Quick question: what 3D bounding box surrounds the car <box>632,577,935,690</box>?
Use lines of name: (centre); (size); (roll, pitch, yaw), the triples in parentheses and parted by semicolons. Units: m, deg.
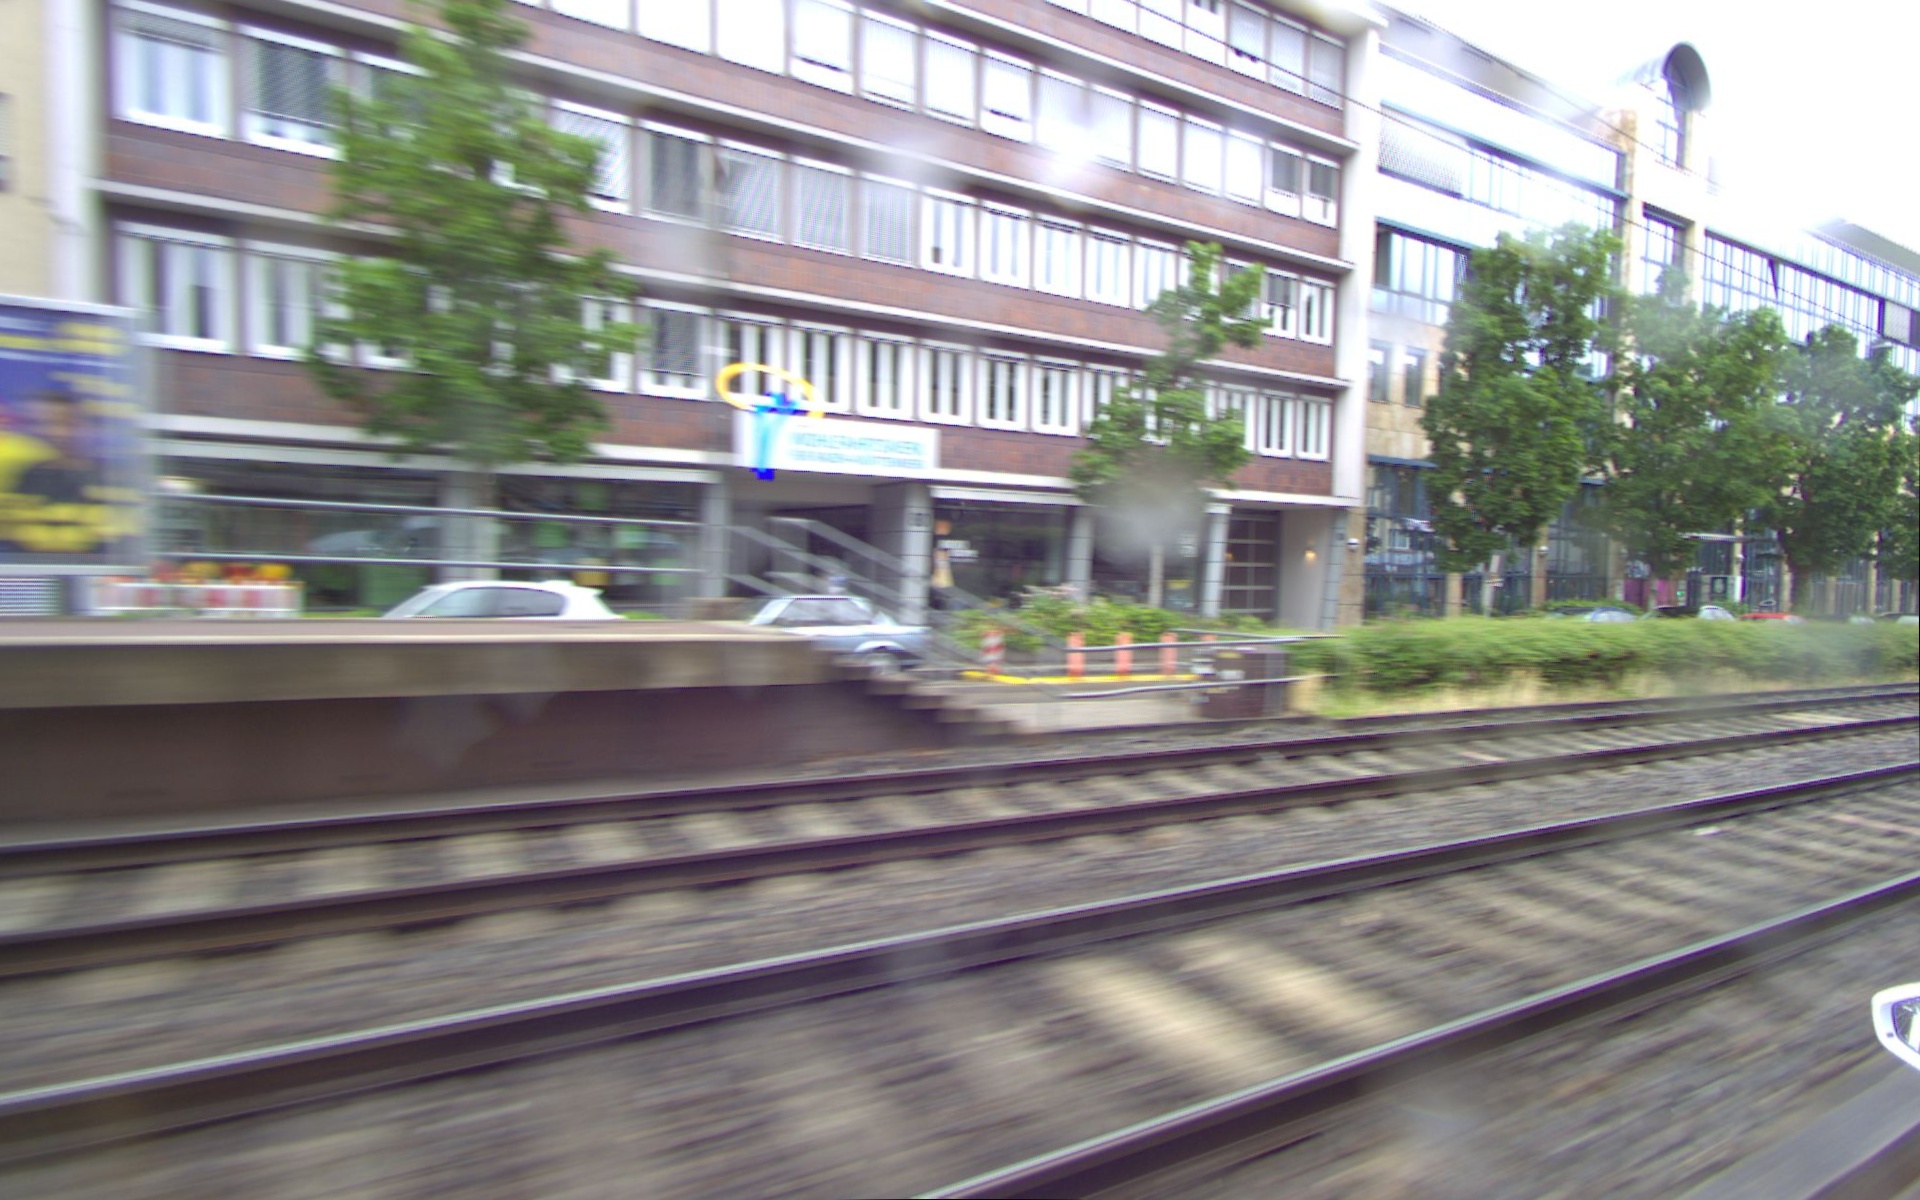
car: (-2.538, 0.469, 14.853); (4.134, 1.455, 1.558); (1, 1, -34)

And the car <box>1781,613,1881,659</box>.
car: (30.172, 1.243, 34.783); (4.134, 1.455, 1.558); (1, 1, -34)

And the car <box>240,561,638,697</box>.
car: (-6.374, 0.334, 12.569); (4.194, 1.455, 1.558); (1, 1, -34)

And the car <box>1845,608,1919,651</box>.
car: (34.231, 1.079, 36.899); (4.134, 1.455, 1.558); (1, 1, -34)

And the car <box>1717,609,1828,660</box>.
car: (25.760, 1.081, 31.813); (4.134, 1.455, 1.558); (1, 1, -34)
